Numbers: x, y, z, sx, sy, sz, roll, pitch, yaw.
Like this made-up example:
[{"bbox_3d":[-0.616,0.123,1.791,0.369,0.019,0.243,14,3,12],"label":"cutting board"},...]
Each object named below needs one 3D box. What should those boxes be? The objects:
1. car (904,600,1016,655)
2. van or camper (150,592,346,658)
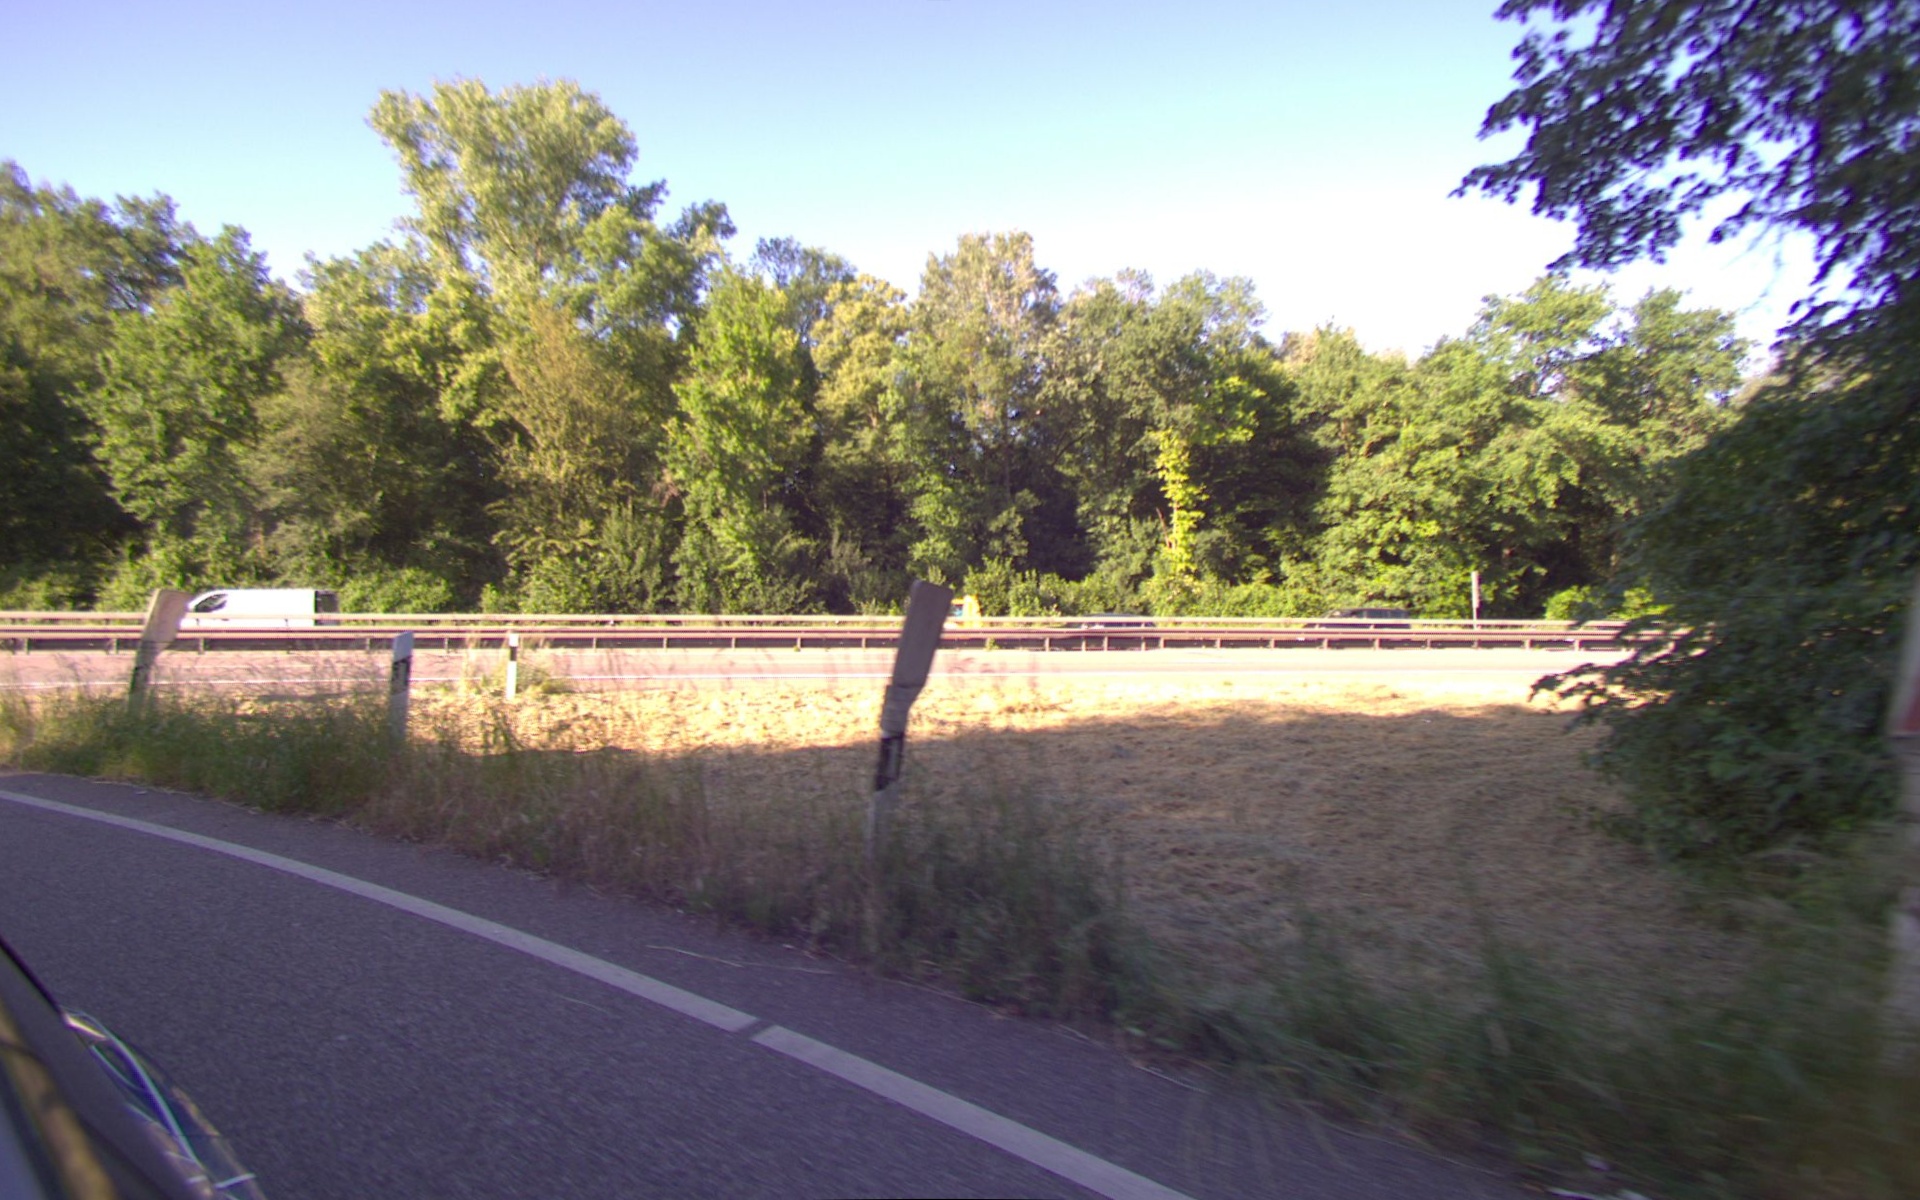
[{"bbox_3d":[-0.030,1.033,38.585,3.935,2.029,2.004,1,-1,-10],"label":"car"},{"bbox_3d":[-22.962,0.807,32.845,4.737,2.029,2.086,1,-1,-14],"label":"van or camper"}]
